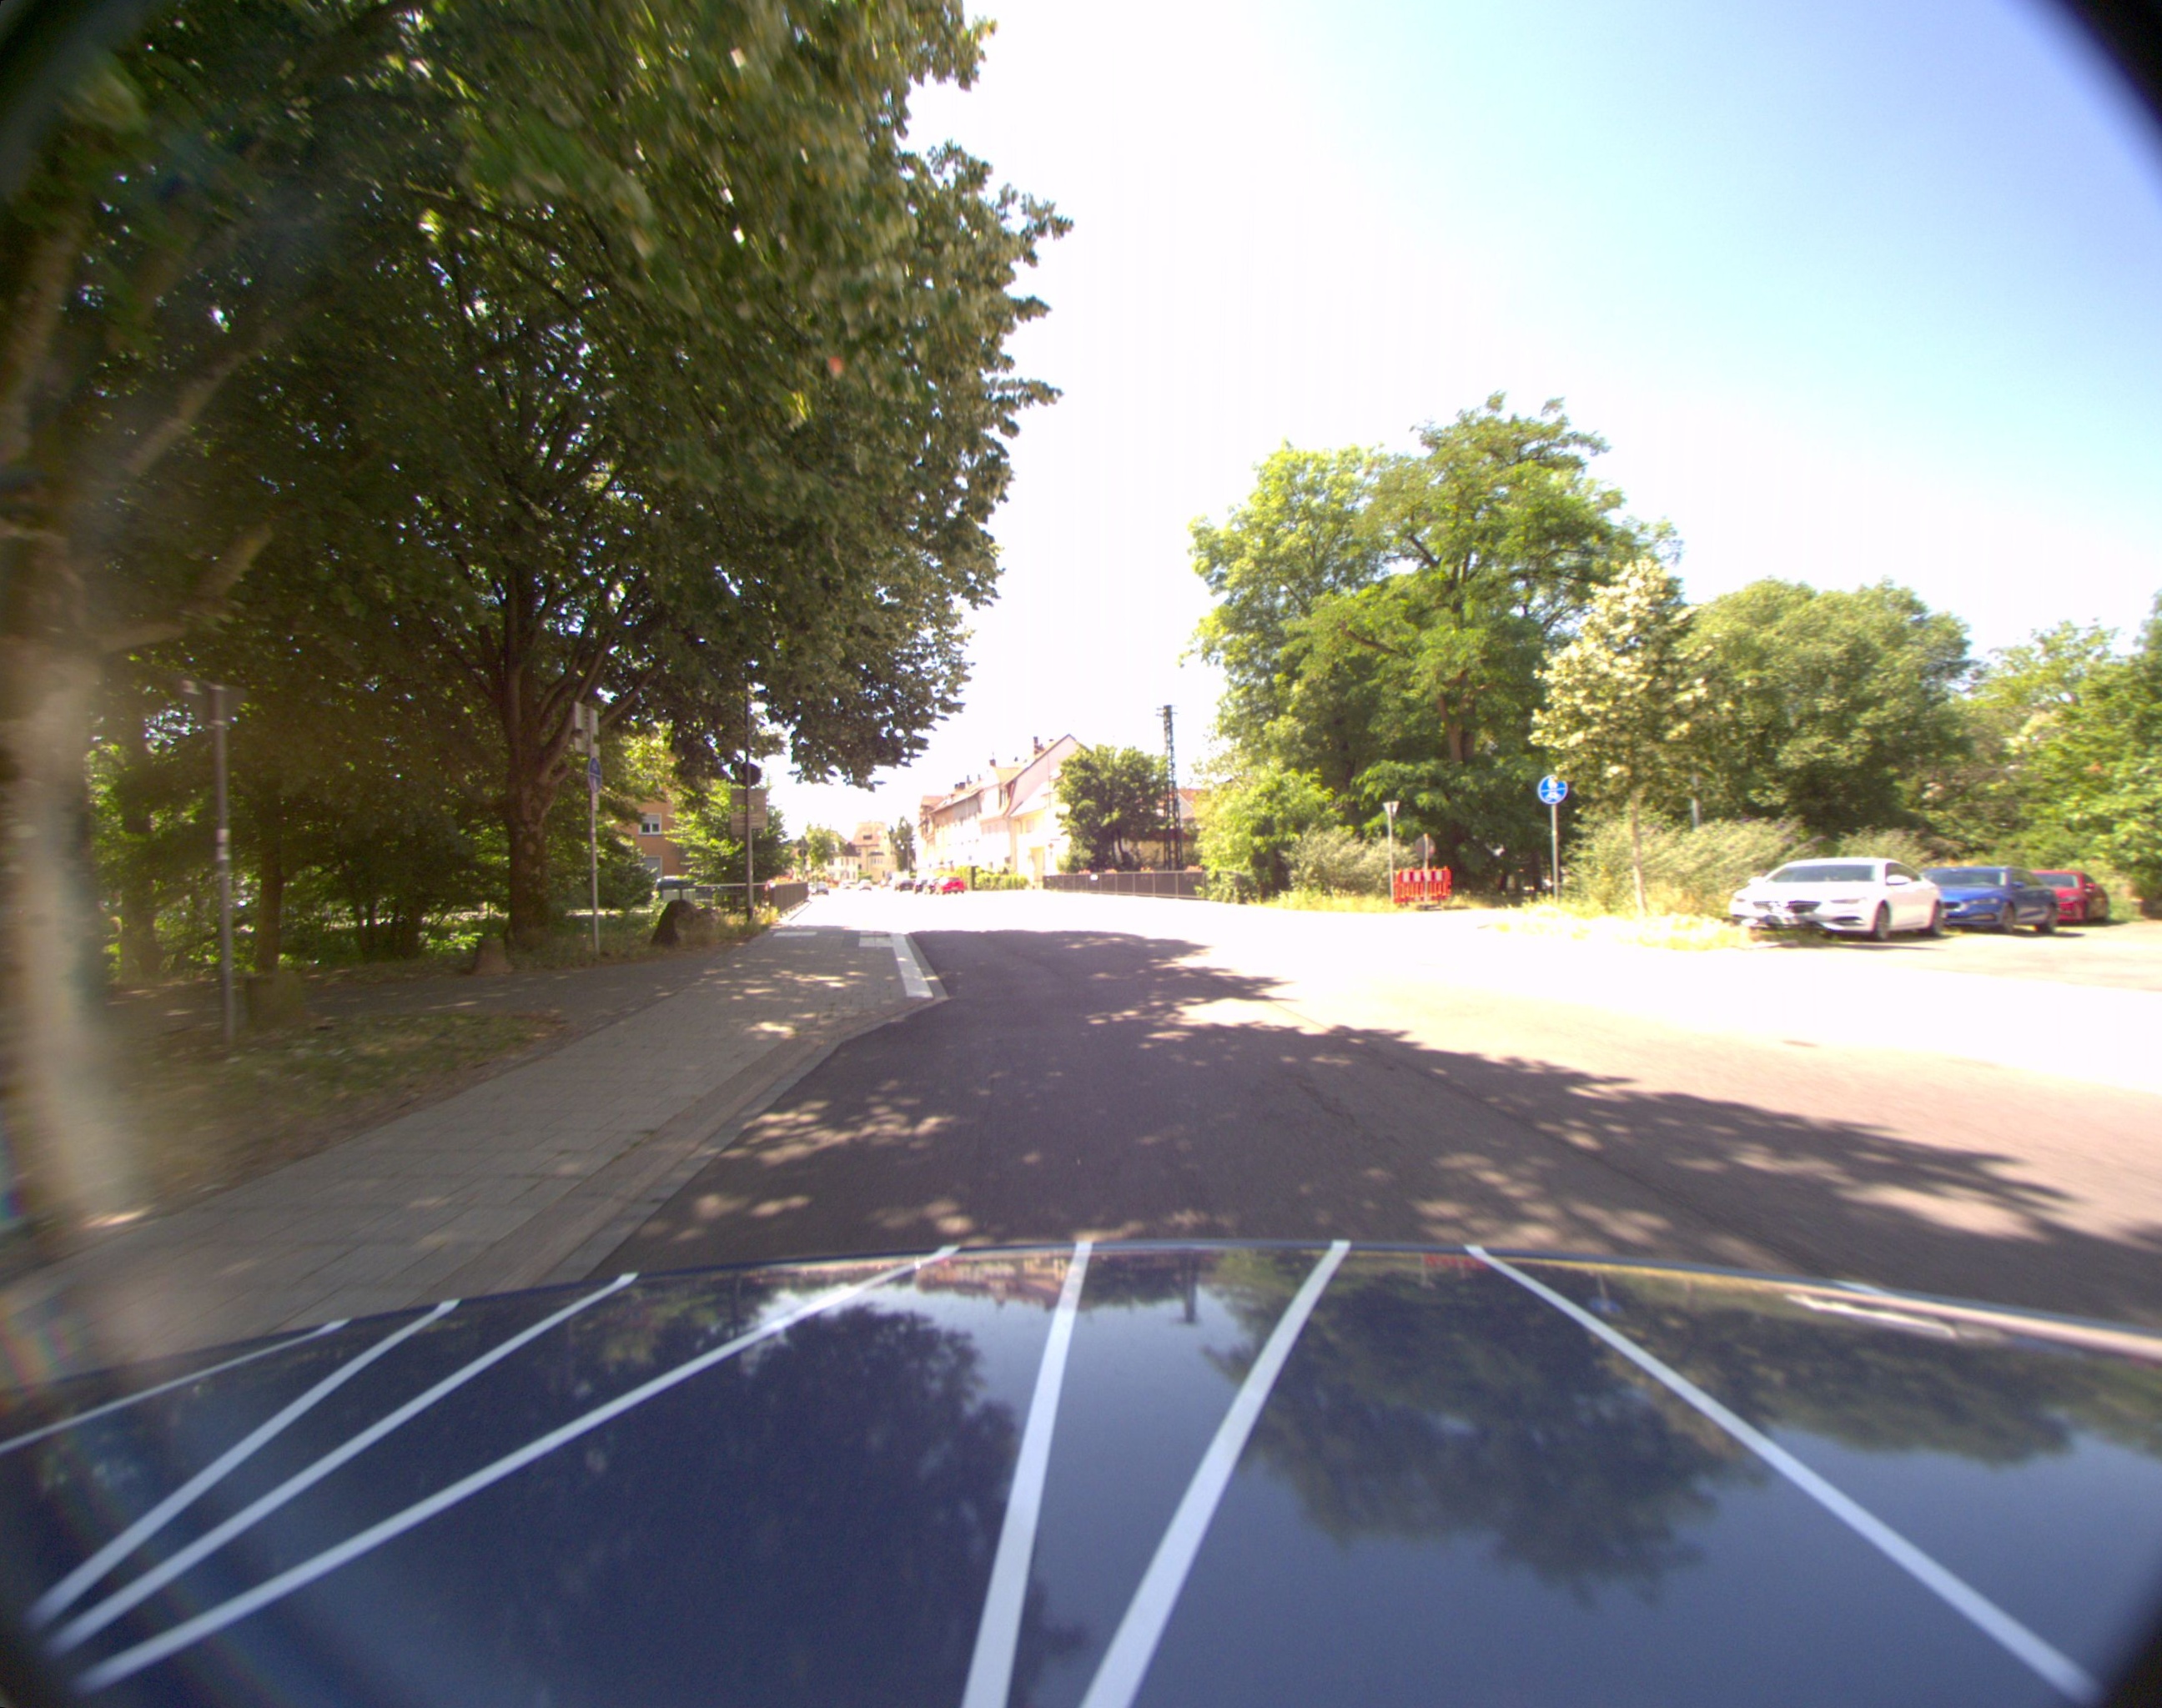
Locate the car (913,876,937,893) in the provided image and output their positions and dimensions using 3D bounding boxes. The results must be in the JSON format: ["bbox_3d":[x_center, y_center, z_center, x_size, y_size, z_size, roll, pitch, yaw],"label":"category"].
[{"bbox_3d":[-14.715,2.903,71.701,1.794,1.450,4.193,-4,-1,-16],"label":"car"}]

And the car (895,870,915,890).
[{"bbox_3d":[-23.709,3.488,102.314,2.127,2.434,6.110,-3,-1,-17],"label":"car"}]

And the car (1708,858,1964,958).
[{"bbox_3d":[13.733,0.850,13.787,4.715,1.349,1.995,-3,2,-28],"label":"car"}]

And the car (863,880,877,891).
[{"bbox_3d":[-31.798,4.788,114.294,1.885,1.587,4.354,0,-2,-18],"label":"car"}]

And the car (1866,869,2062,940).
[{"bbox_3d":[19.307,1.039,16.602,4.007,1.337,1.995,1,0,-29],"label":"car"}]

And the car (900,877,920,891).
[{"bbox_3d":[-20.599,3.616,91.606,2.092,1.604,5.105,-3,-1,-11],"label":"car"}]

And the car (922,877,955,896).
[{"bbox_3d":[-12.437,2.835,66.155,1.871,1.452,5.300,-3,-2,-21],"label":"car"}]

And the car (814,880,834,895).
[{"bbox_3d":[-26.531,3.487,78.330,1.841,1.494,5.056,1,-2,-20],"label":"car"}]

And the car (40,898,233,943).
[{"bbox_3d":[-37.987,2.647,30.741,4.520,1.415,1.756,-1,1,-28],"label":"car"}]

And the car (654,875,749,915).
[{"bbox_3d":[-20.246,2.132,40.606,4.357,1.828,1.746,-3,0,-28],"label":"car"}]

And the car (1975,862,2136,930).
[{"bbox_3d":[25.772,1.034,20.087,4.006,1.533,1.996,-1,0,-29],"label":"car"}]

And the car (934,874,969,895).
[{"bbox_3d":[-10.384,2.407,60.670,1.885,1.471,4.731,-4,-1,-20],"label":"car"}]
